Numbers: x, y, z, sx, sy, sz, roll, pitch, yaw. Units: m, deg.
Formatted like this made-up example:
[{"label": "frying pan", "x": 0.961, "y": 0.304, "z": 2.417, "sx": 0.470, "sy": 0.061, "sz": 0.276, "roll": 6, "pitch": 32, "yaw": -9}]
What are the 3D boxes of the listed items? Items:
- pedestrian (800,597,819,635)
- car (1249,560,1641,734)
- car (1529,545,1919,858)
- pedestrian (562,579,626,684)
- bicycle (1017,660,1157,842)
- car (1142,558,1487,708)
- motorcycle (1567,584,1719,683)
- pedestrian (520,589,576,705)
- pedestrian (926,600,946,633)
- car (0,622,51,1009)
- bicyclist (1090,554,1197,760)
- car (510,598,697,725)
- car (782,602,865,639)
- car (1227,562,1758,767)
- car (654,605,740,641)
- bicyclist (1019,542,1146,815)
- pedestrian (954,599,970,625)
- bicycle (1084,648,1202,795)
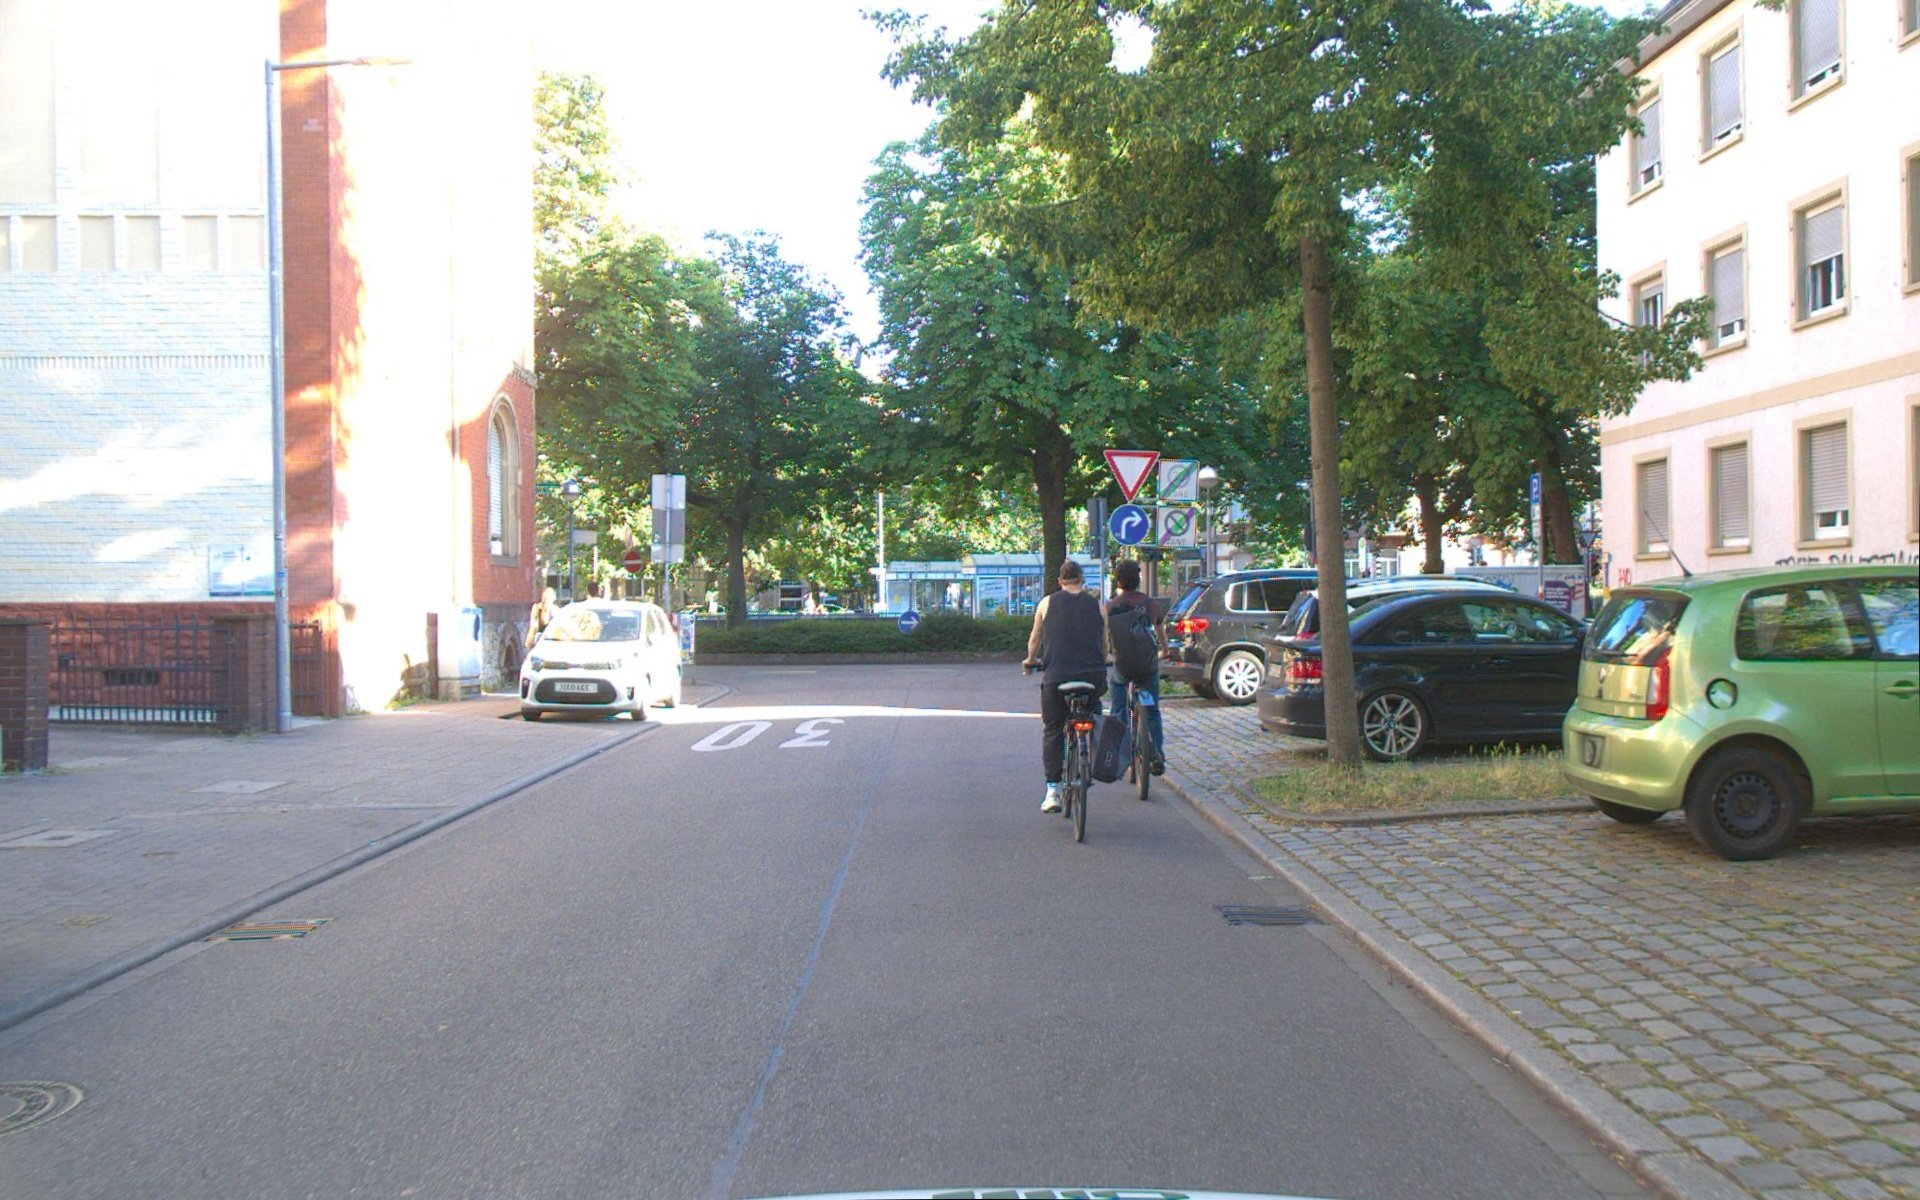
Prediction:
[{"label": "pedestrian", "x": -6.932, "y": 0.726, "z": 76.020, "sx": 0.692, "sy": 1.725, "sz": 0.666, "roll": 1, "pitch": -1, "yaw": -23}, {"label": "car", "x": 4.954, "y": 0.468, "z": 17.273, "sx": 3.616, "sy": 1.680, "sz": 1.705, "roll": -1, "pitch": 0, "yaw": 3}, {"label": "car", "x": 5.250, "y": 0.464, "z": 9.258, "sx": 3.516, "sy": 1.531, "sz": 1.678, "roll": -2, "pitch": 0, "yaw": 0}, {"label": "pedestrian", "x": -5.973, "y": 0.509, "z": 27.034, "sx": 0.849, "sy": 1.672, "sz": 0.860, "roll": -1, "pitch": 0, "yaw": -1}, {"label": "bicycle", "x": 0.796, "y": 0.942, "z": 10.945, "sx": 0.722, "sy": 1.030, "sz": 2.061, "roll": 1, "pitch": -1, "yaw": -1}, {"label": "car", "x": 4.603, "y": 0.397, "z": 21.872, "sx": 4.026, "sy": 1.742, "sz": 2.022, "roll": -2, "pitch": 1, "yaw": -5}, {"label": "motorcycle", "x": 9.549, "y": 0.452, "z": 23.235, "sx": 0.957, "sy": 1.302, "sz": 2.178, "roll": -1, "pitch": 0, "yaw": -9}, {"label": "pedestrian", "x": -5.952, "y": 0.669, "z": 23.914, "sx": 0.587, "sy": 1.633, "sz": 0.855, "roll": -1, "pitch": 0, "yaw": -1}, {"label": "pedestrian", "x": -1.161, "y": 0.792, "z": 78.664, "sx": 0.795, "sy": 1.570, "sz": 0.818, "roll": 1, "pitch": 0, "yaw": -12}, {"label": "car", "x": -4.491, "y": 0.833, "z": 4.691, "sx": 1.709, "sy": 1.492, "sz": 4.101, "roll": 0, "pitch": 0, "yaw": -3}, {"label": "bicyclist", "x": 1.427, "y": 0.438, "z": 13.029, "sx": 0.658, "sy": 1.541, "sz": 1.068, "roll": -1, "pitch": -1, "yaw": -2}, {"label": "car", "x": -4.670, "y": 0.760, "z": 22.176, "sx": 1.670, "sy": 1.511, "sz": 3.796, "roll": 1, "pitch": 0, "yaw": -1}, {"label": "car", "x": -7.259, "y": 1.080, "z": 87.739, "sx": 3.939, "sy": 1.903, "sz": 1.983, "roll": -1, "pitch": 0, "yaw": -27}, {"label": "car", "x": 4.531, "y": 0.534, "z": 14.510, "sx": 4.022, "sy": 1.436, "sz": 1.792, "roll": -4, "pitch": 0, "yaw": -1}, {"label": "car", "x": -13.269, "y": 1.142, "z": 83.499, "sx": 3.920, "sy": 1.709, "sz": 1.922, "roll": -1, "pitch": 0, "yaw": -45}, {"label": "bicyclist", "x": 0.791, "y": 0.498, "z": 10.912, "sx": 0.737, "sy": 1.711, "sz": 0.913, "roll": -1, "pitch": 0, "yaw": -1}, {"label": "pedestrian", "x": 0.144, "y": 0.775, "z": 108.533, "sx": 0.980, "sy": 1.659, "sz": 1.064, "roll": -1, "pitch": 0, "yaw": -2}, {"label": "bicycle", "x": 1.427, "y": 0.925, "z": 13.231, "sx": 0.660, "sy": 1.072, "sz": 2.060, "roll": -1, "pitch": -2, "yaw": -1}]
